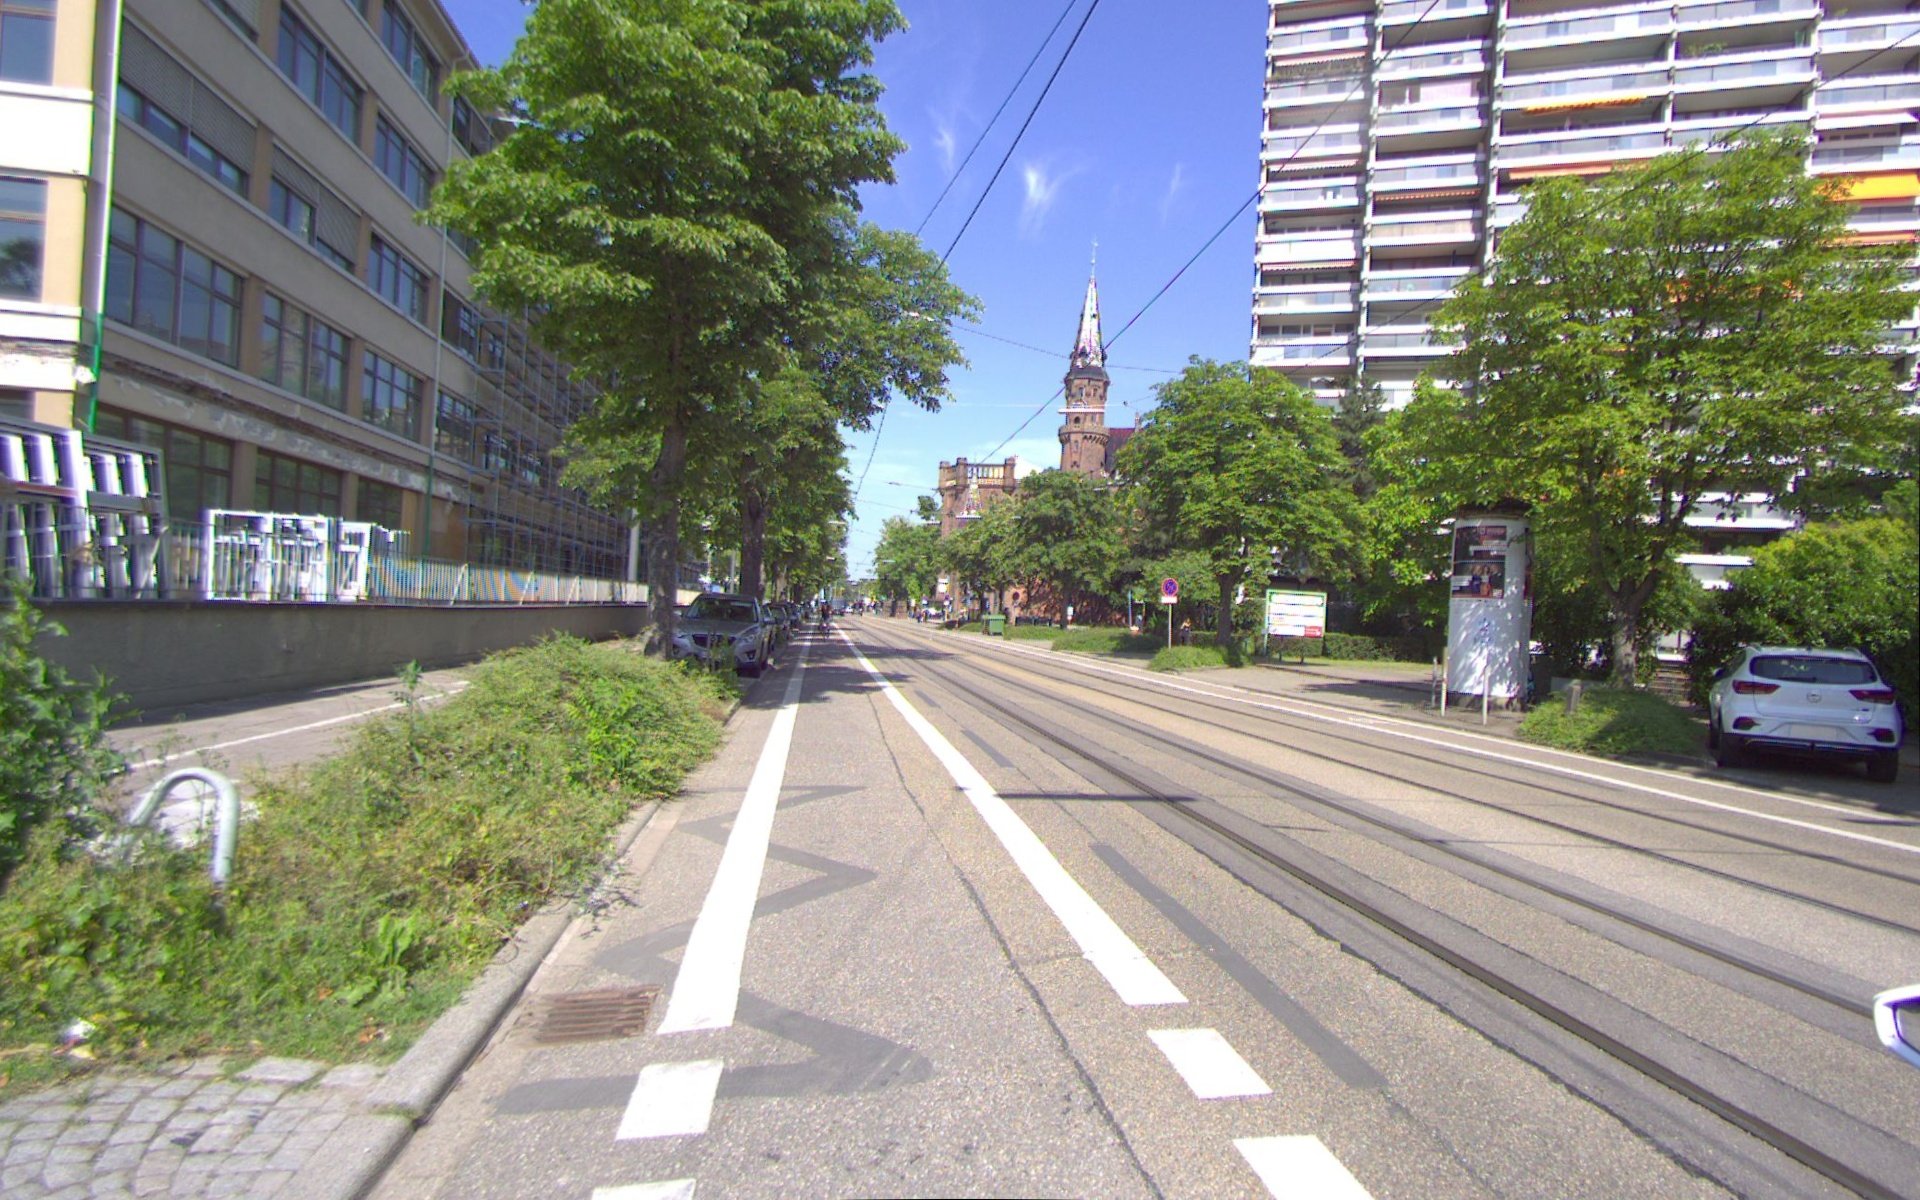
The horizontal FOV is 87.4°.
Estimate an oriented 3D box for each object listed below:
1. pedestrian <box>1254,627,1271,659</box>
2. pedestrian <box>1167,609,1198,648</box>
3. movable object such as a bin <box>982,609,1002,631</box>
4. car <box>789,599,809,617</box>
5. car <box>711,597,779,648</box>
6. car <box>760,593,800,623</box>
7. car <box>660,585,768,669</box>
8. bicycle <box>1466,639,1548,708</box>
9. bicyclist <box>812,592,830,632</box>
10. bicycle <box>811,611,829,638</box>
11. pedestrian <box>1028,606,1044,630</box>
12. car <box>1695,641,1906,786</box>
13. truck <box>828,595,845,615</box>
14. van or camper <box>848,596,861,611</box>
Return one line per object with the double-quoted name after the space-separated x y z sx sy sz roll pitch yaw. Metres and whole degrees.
11.757 1.668 39.014 0.523 1.169 0.702 3 -1 13 "pedestrian"
10.948 1.402 49.494 1.040 1.821 1.264 5 0 -5 "pedestrian"
2.278 1.442 72.024 1.242 1.472 1.079 4 0 -3 "movable object such as a bin"
-17.214 0.850 107.403 1.964 1.661 3.994 4 -1 -8 "car"
-6.613 0.670 31.195 1.788 1.472 3.994 1 0 -9 "car"
-10.935 0.493 61.260 1.963 1.661 3.996 4 -1 -6 "car"
-5.162 0.542 21.518 1.788 1.514 4.102 4 -1 -9 "car"
11.793 1.567 21.711 0.538 1.326 1.616 4 -1 -14 "bicycle"
-5.785 0.484 41.758 0.621 1.627 0.701 4 0 -11 "bicyclist"
-5.836 1.012 41.861 0.586 1.020 1.484 4 -1 -10 "bicycle"
6.252 1.469 82.539 1.040 1.821 1.264 5 0 -1 "pedestrian"
11.399 1.436 13.885 1.789 1.627 3.935 1 -2 34 "car"
-19.325 0.784 157.266 2.520 2.977 5.072 3 0 -8 "truck"
-20.848 0.715 198.032 2.014 2.654 5.852 4 -1 -9 "van or camper"
